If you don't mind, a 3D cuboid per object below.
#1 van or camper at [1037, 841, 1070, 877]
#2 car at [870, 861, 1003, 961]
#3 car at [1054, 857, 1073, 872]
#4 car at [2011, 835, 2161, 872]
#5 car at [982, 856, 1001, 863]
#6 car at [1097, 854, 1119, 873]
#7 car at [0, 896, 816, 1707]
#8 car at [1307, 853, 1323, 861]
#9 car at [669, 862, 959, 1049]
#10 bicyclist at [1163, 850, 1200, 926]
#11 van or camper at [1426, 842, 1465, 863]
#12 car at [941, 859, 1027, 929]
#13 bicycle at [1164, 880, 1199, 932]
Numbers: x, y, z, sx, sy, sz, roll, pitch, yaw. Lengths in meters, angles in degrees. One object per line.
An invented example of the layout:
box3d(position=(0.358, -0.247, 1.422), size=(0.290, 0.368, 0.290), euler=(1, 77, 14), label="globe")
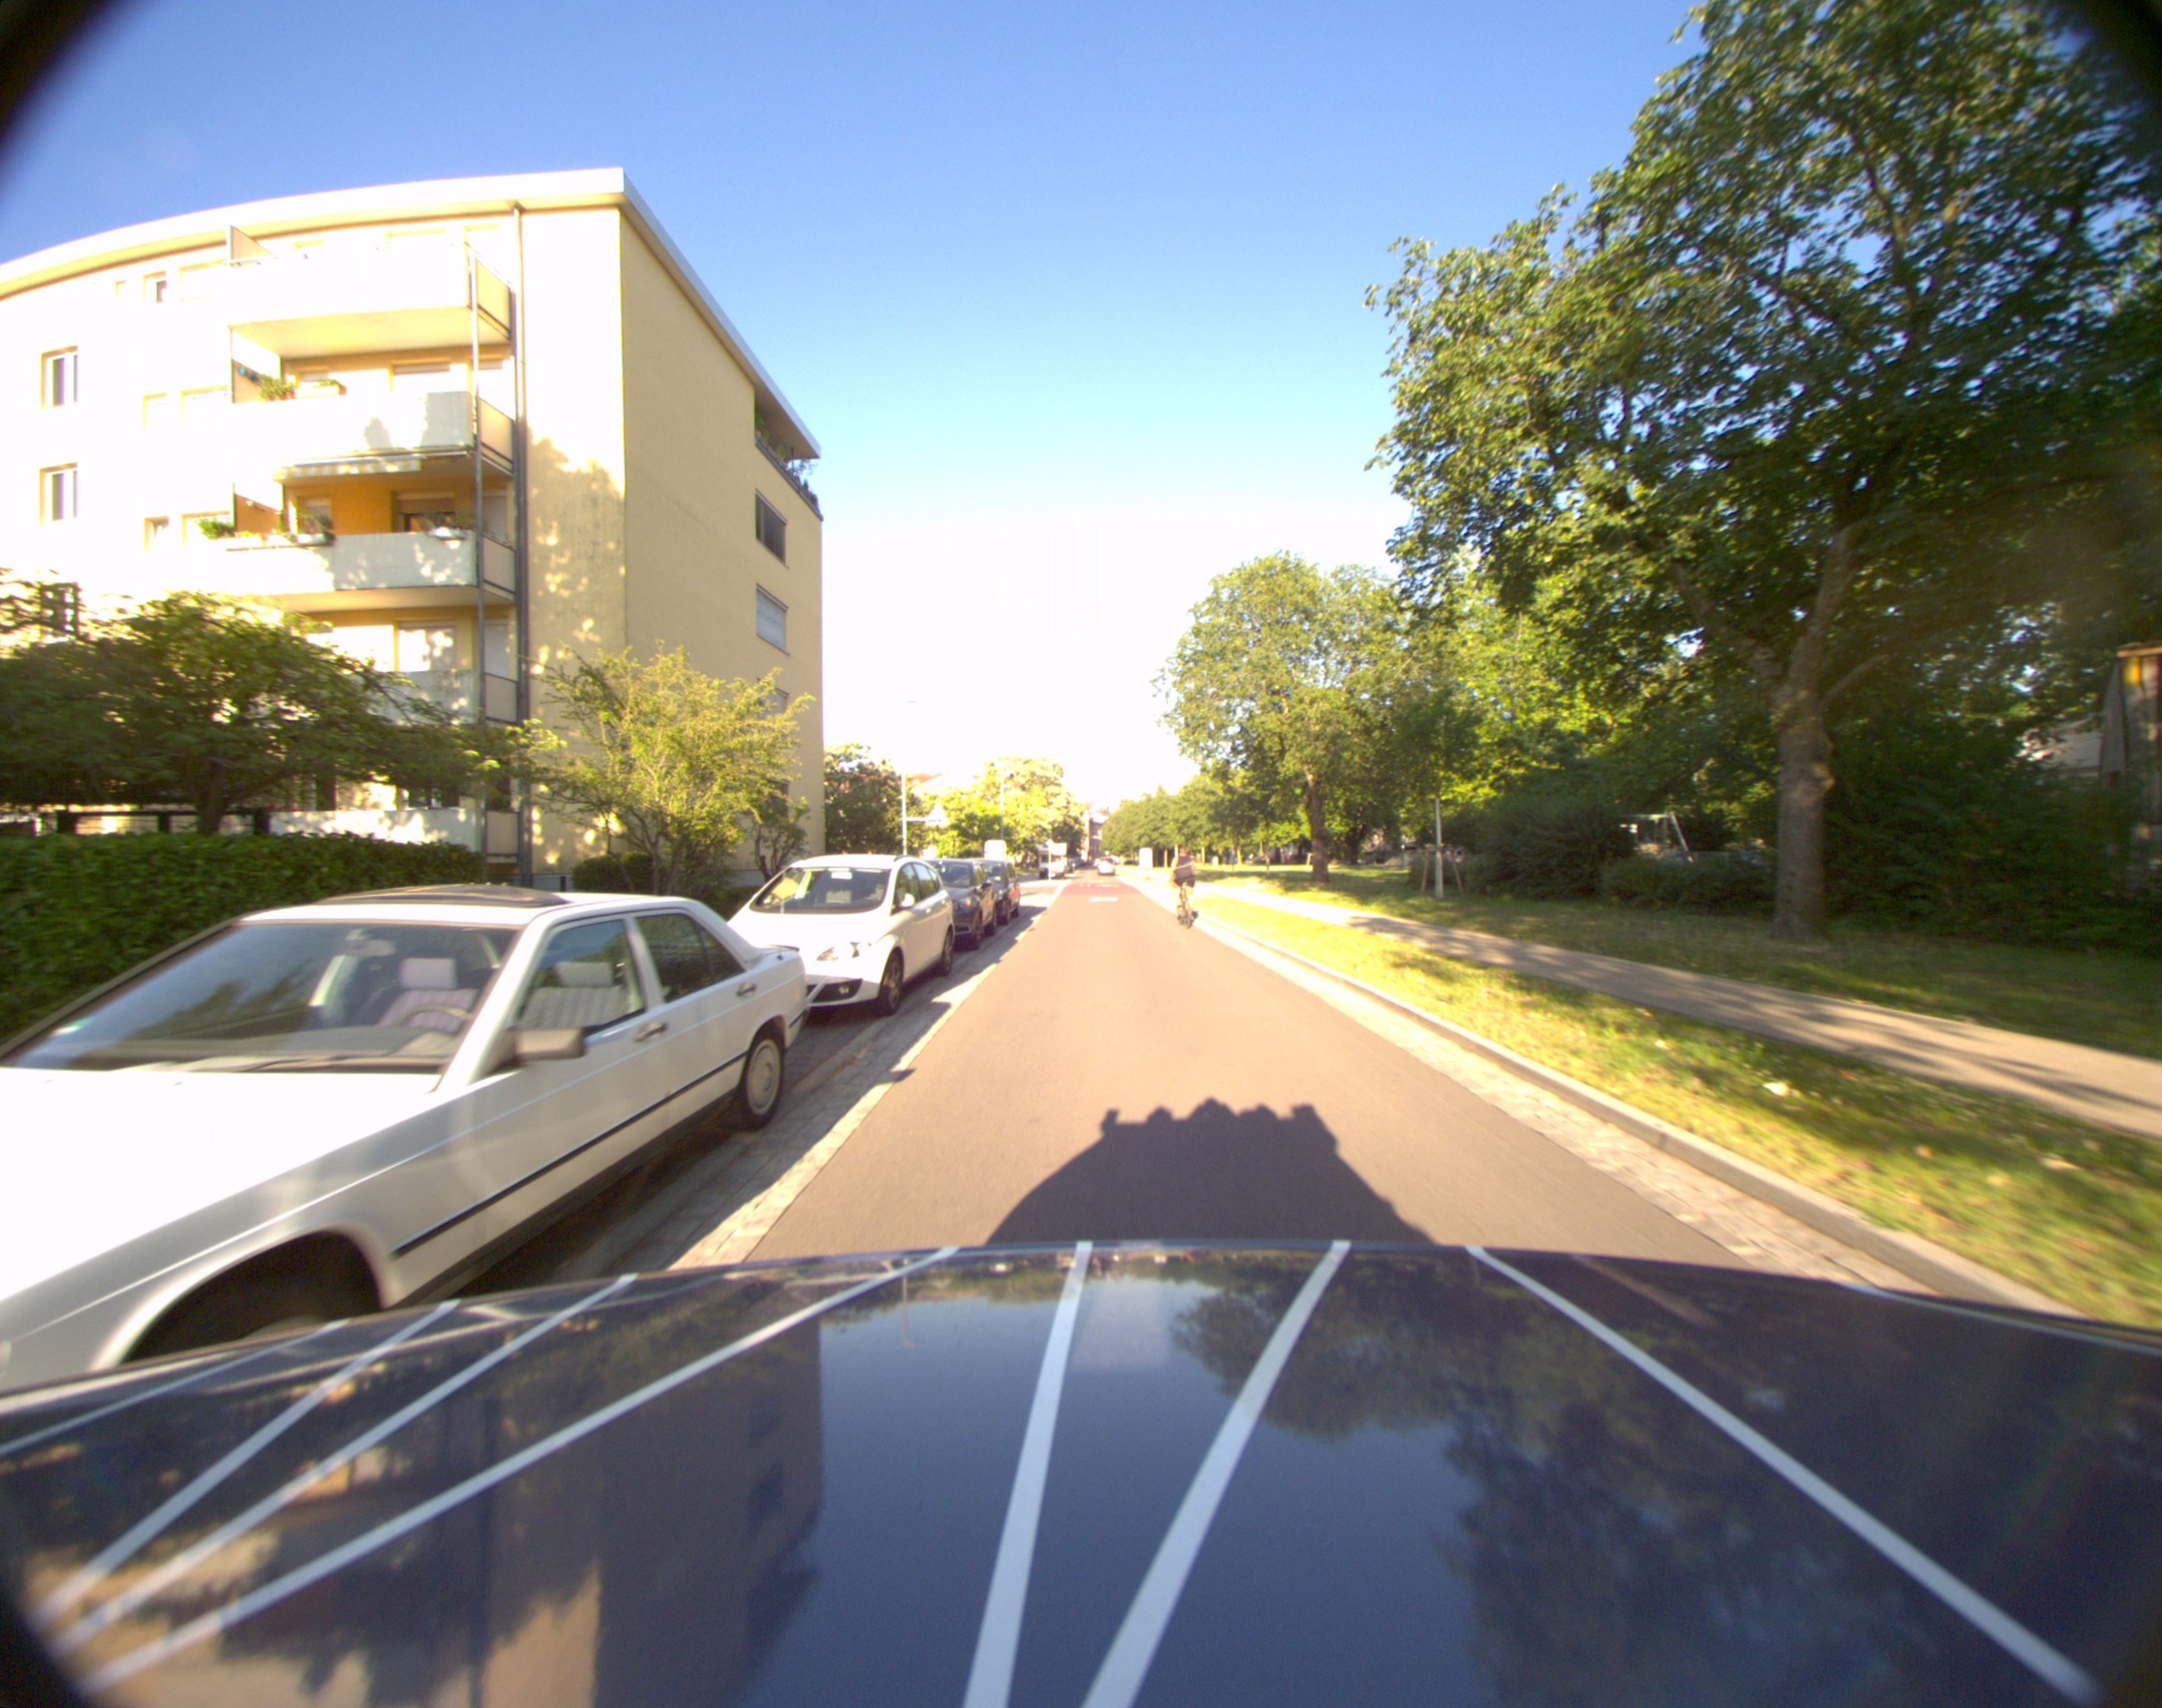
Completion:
box3d(position=(-2.145, 0.377, 61.117), size=(2.427, 2.766, 5.952), euler=(1, 0, 0), label="van or camper")
box3d(position=(-2.524, 0.933, 14.238), size=(1.683, 1.546, 4.144), euler=(1, 0, 0), label="car")
box3d(position=(-1.921, 1.163, 84.938), size=(1.998, 1.501, 4.000), euler=(-2, 0, 0), label="car")
box3d(position=(42.674, -0.018, 32.391), size=(1.604, 1.455, 3.664), euler=(-2, 0, 3), label="car")
box3d(position=(-18.887, 1.203, 160.820), size=(3.707, 1.490, 1.724), euler=(-2, 0, -17), label="car")
box3d(position=(2.635, 0.894, 74.686), size=(1.849, 1.837, 4.572), euler=(0, 0, -2), label="car")
box3d(position=(-2.626, 0.979, 2.976), size=(1.567, 1.382, 4.374), euler=(1, 0, 1), label="car")
box3d(position=(44.514, 0.543, 144.472), size=(1.796, 1.455, 4.000), euler=(-2, 0, 0), label="car")
box3d(position=(-2.617, 0.883, 8.550), size=(1.682, 1.546, 4.130), euler=(1, 0, 2), label="car")
box3d(position=(2.273, 0.740, 17.259), size=(0.683, 1.663, 1.172), euler=(0, 1, 0), label="bicyclist")
box3d(position=(43.768, -0.163, 91.393), size=(1.999, 2.425, 5.466), euler=(1, 0, -1), label="van or camper")
box3d(position=(-2.410, 0.955, 19.839), size=(1.714, 1.601, 4.168), euler=(1, 0, 0), label="car")
box3d(position=(2.270, 1.153, 17.320), size=(0.558, 1.026, 1.914), euler=(0, 1, 0), label="bicycle")
